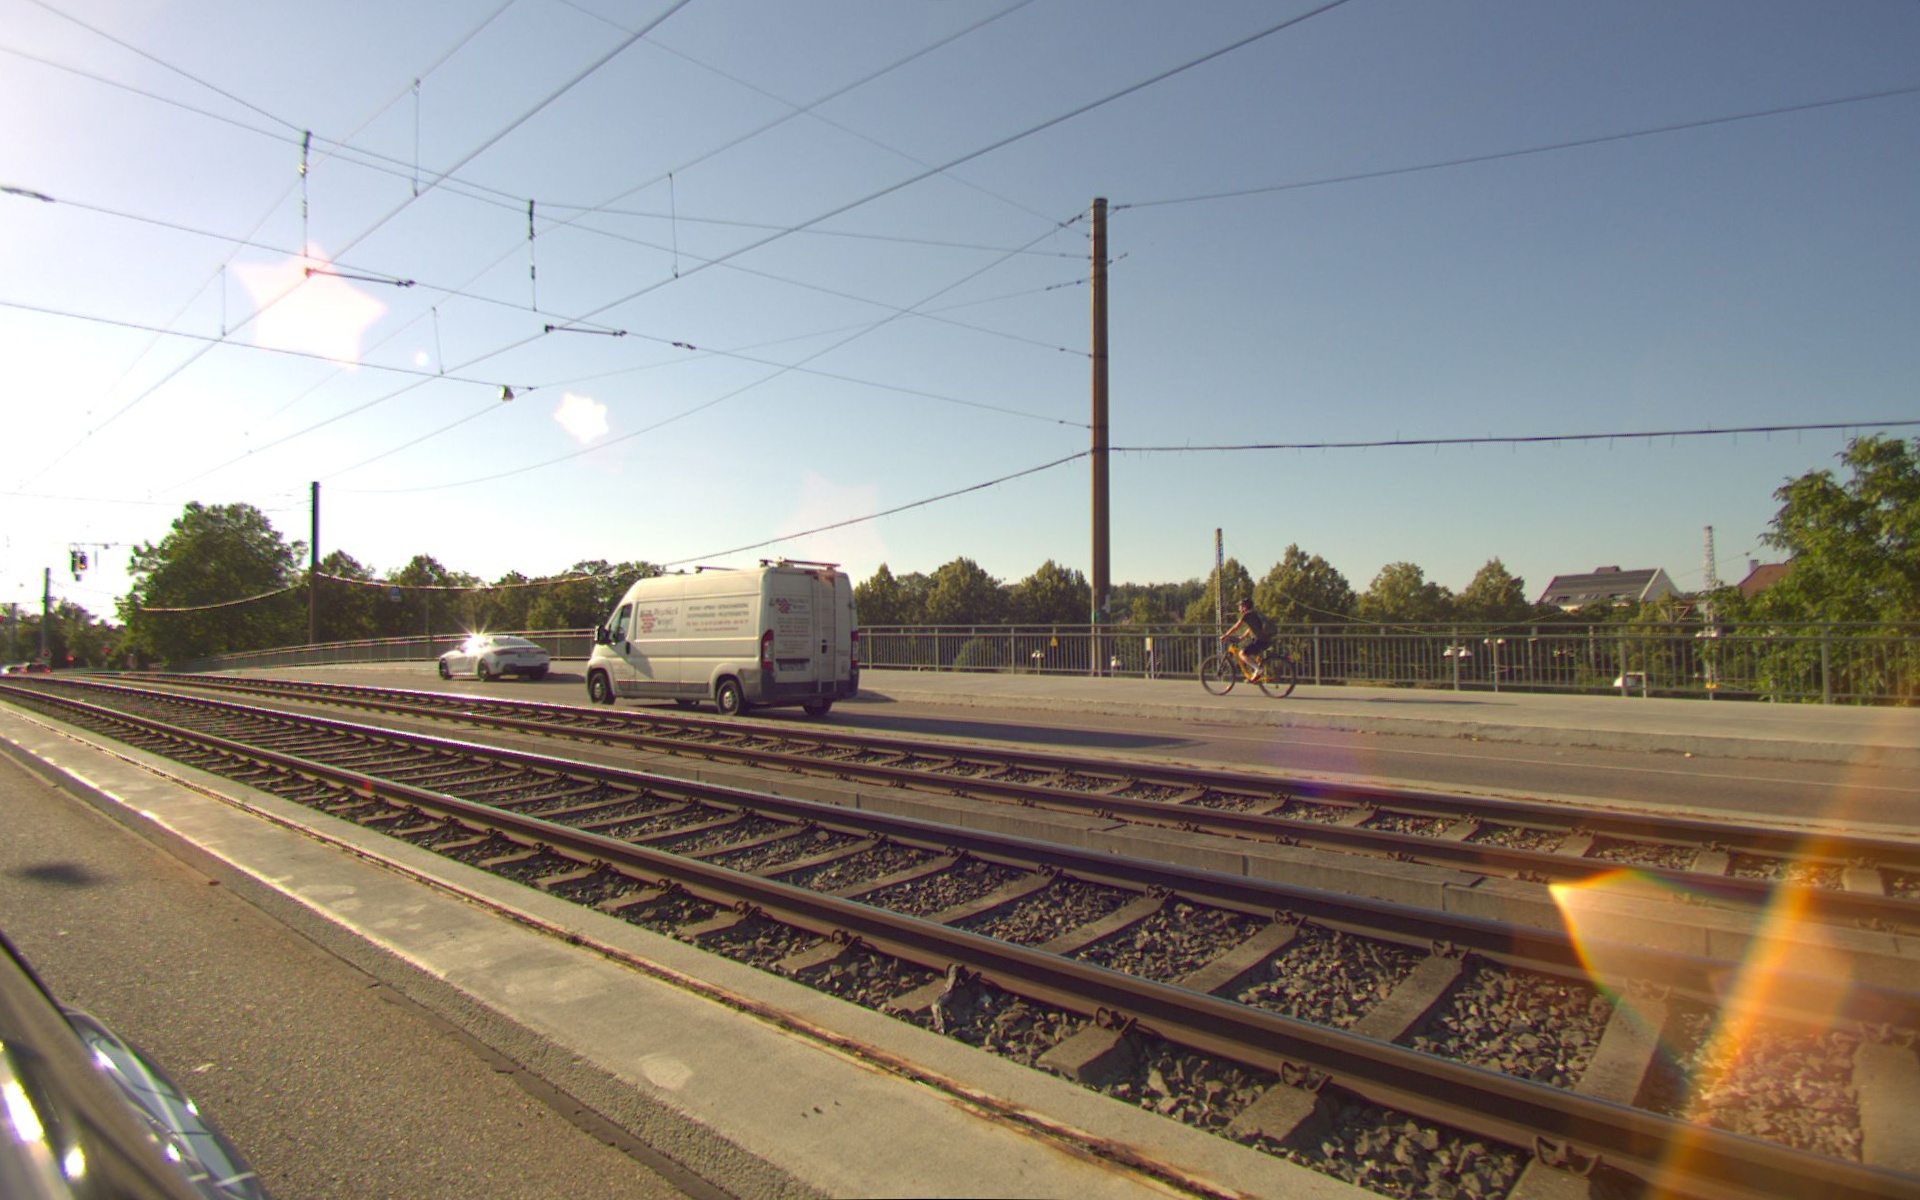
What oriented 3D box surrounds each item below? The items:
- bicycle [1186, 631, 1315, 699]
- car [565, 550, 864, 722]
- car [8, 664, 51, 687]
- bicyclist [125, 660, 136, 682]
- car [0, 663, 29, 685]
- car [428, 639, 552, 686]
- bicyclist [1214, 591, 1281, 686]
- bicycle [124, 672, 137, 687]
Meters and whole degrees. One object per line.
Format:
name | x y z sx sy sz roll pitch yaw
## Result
bicycle | 5.163 1.145 18.100 2.099 1.106 0.672 -3 0 42
car | -4.569 0.640 18.105 6.037 2.613 2.065 -3 -2 41
car | -66.698 5.435 72.513 3.998 1.531 1.789 -5 -6 41
bicyclist | -65.103 5.570 79.423 0.936 1.645 0.618 -4 -3 45
car | -75.909 5.900 80.618 5.087 1.649 1.980 -4 -3 41
car | -14.805 1.928 31.741 4.917 1.367 1.666 -2 -4 41
bicyclist | 5.142 0.682 18.105 0.889 1.639 0.672 -3 0 41
bicycle | -65.090 6.234 79.410 2.260 1.131 0.618 -4 -3 45
